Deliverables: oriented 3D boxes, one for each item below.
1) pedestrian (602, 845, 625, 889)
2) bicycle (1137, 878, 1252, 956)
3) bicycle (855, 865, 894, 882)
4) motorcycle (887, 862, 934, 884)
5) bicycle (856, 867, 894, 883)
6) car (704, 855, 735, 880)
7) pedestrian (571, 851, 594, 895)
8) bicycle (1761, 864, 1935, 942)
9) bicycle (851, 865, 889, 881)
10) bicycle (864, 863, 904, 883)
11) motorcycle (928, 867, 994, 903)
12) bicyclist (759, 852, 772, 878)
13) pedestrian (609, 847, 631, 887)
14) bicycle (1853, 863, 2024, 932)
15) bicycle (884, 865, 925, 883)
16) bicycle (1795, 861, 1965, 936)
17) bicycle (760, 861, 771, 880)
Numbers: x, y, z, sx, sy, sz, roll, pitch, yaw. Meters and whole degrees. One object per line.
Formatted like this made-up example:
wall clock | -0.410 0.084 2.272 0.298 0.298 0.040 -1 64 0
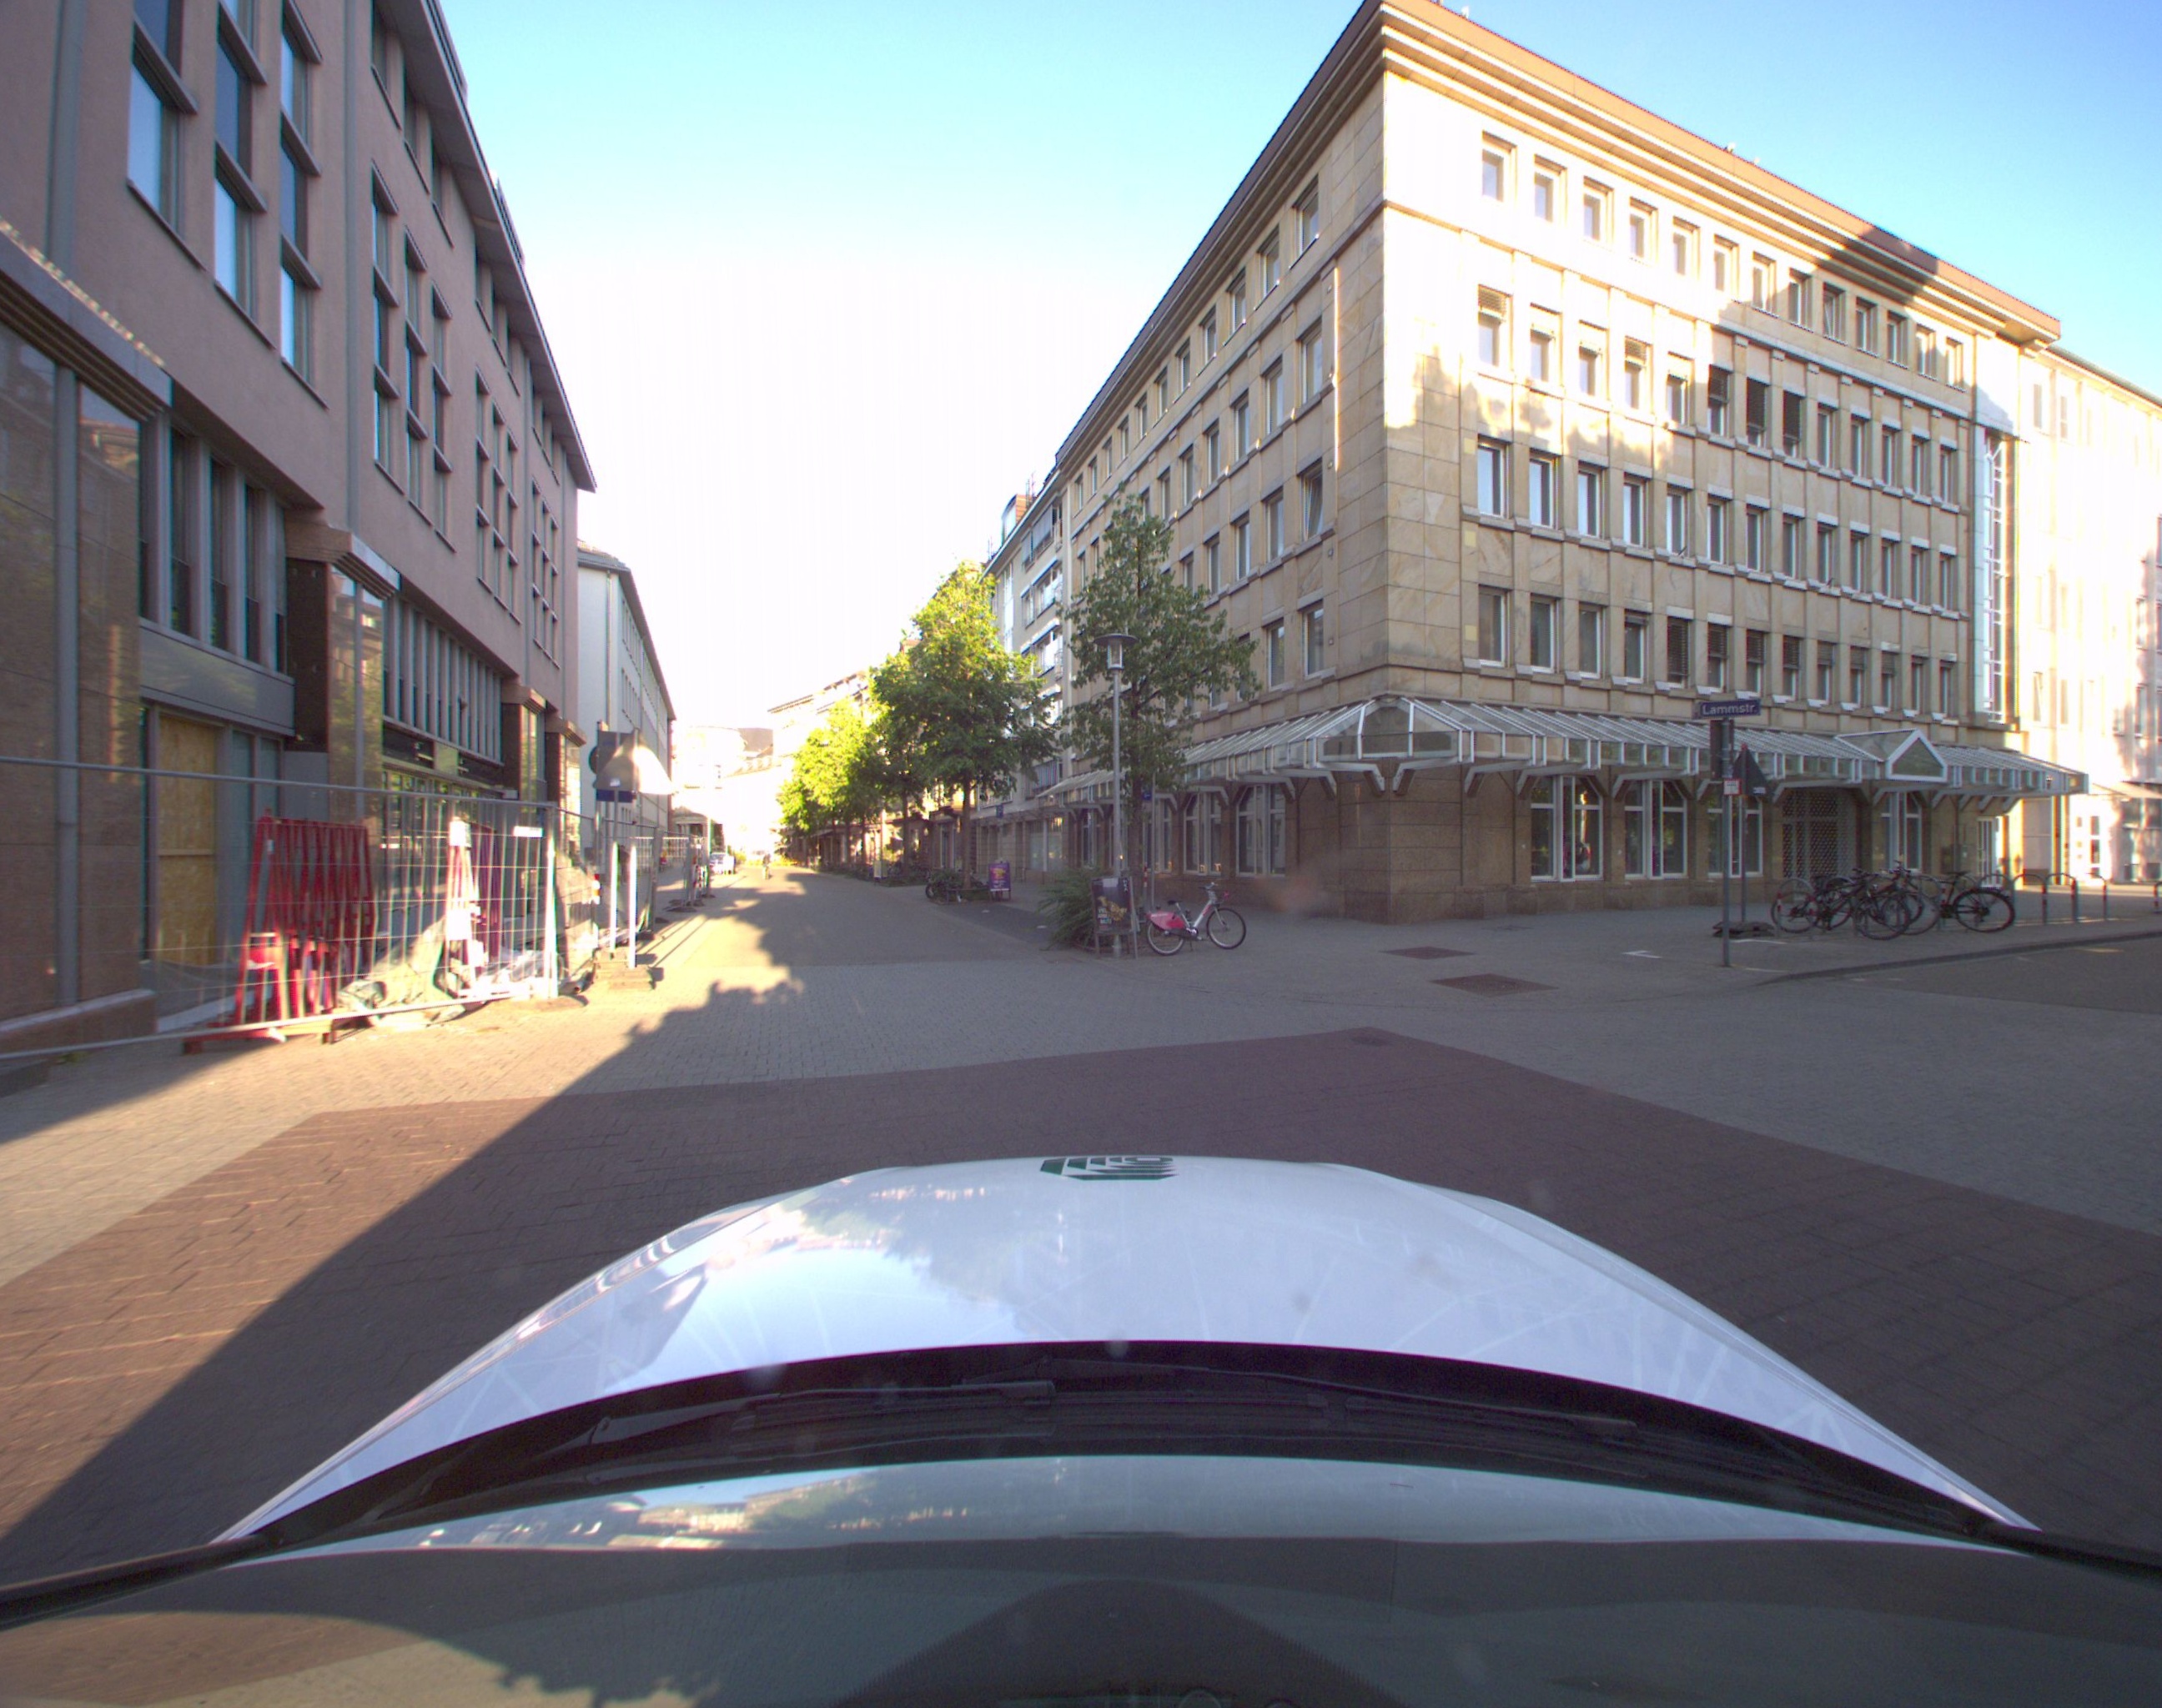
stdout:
pedestrian | -19.012 0.516 33.101 0.656 1.764 0.630 -1 0 -17
bicycle | 1.764 0.978 12.795 1.652 1.050 0.662 -3 2 -4
bicycle | -12.165 1.153 48.067 2.166 0.926 0.585 -1 -1 -29
motorcycle | -9.094 1.012 43.501 2.493 1.095 0.583 -1 -1 -44
bicycle | -12.389 1.245 49.002 2.166 0.926 0.585 -1 -1 -29
car | -25.695 0.933 57.887 1.852 1.684 3.613 -1 0 -26
pedestrian | -20.045 0.765 32.756 0.656 1.725 0.630 -1 0 -17
bicycle | 11.856 0.717 12.686 0.544 1.050 1.936 -1 2 -20
bicycle | -12.897 1.163 49.808 2.166 0.926 0.585 -1 -1 -29
bicycle | -11.089 1.088 45.896 2.151 1.061 0.589 -1 -1 -8
motorcycle | -4.117 1.065 27.986 2.163 1.151 0.490 -1 -1 -25
bicyclist | -18.359 0.620 47.387 0.724 1.468 0.712 -1 0 -23
pedestrian | -19.078 0.528 33.715 0.656 1.651 0.630 -1 0 -17
bicycle | 14.292 0.682 13.653 0.514 1.028 1.934 -1 1 -22
bicycle | -9.625 1.105 44.473 2.170 0.926 0.584 -1 -1 -37
bicycle | 12.979 0.681 13.316 0.544 1.050 1.937 -1 2 -19
bicycle | -18.349 0.965 47.340 0.591 1.095 2.144 -1 -1 -22
